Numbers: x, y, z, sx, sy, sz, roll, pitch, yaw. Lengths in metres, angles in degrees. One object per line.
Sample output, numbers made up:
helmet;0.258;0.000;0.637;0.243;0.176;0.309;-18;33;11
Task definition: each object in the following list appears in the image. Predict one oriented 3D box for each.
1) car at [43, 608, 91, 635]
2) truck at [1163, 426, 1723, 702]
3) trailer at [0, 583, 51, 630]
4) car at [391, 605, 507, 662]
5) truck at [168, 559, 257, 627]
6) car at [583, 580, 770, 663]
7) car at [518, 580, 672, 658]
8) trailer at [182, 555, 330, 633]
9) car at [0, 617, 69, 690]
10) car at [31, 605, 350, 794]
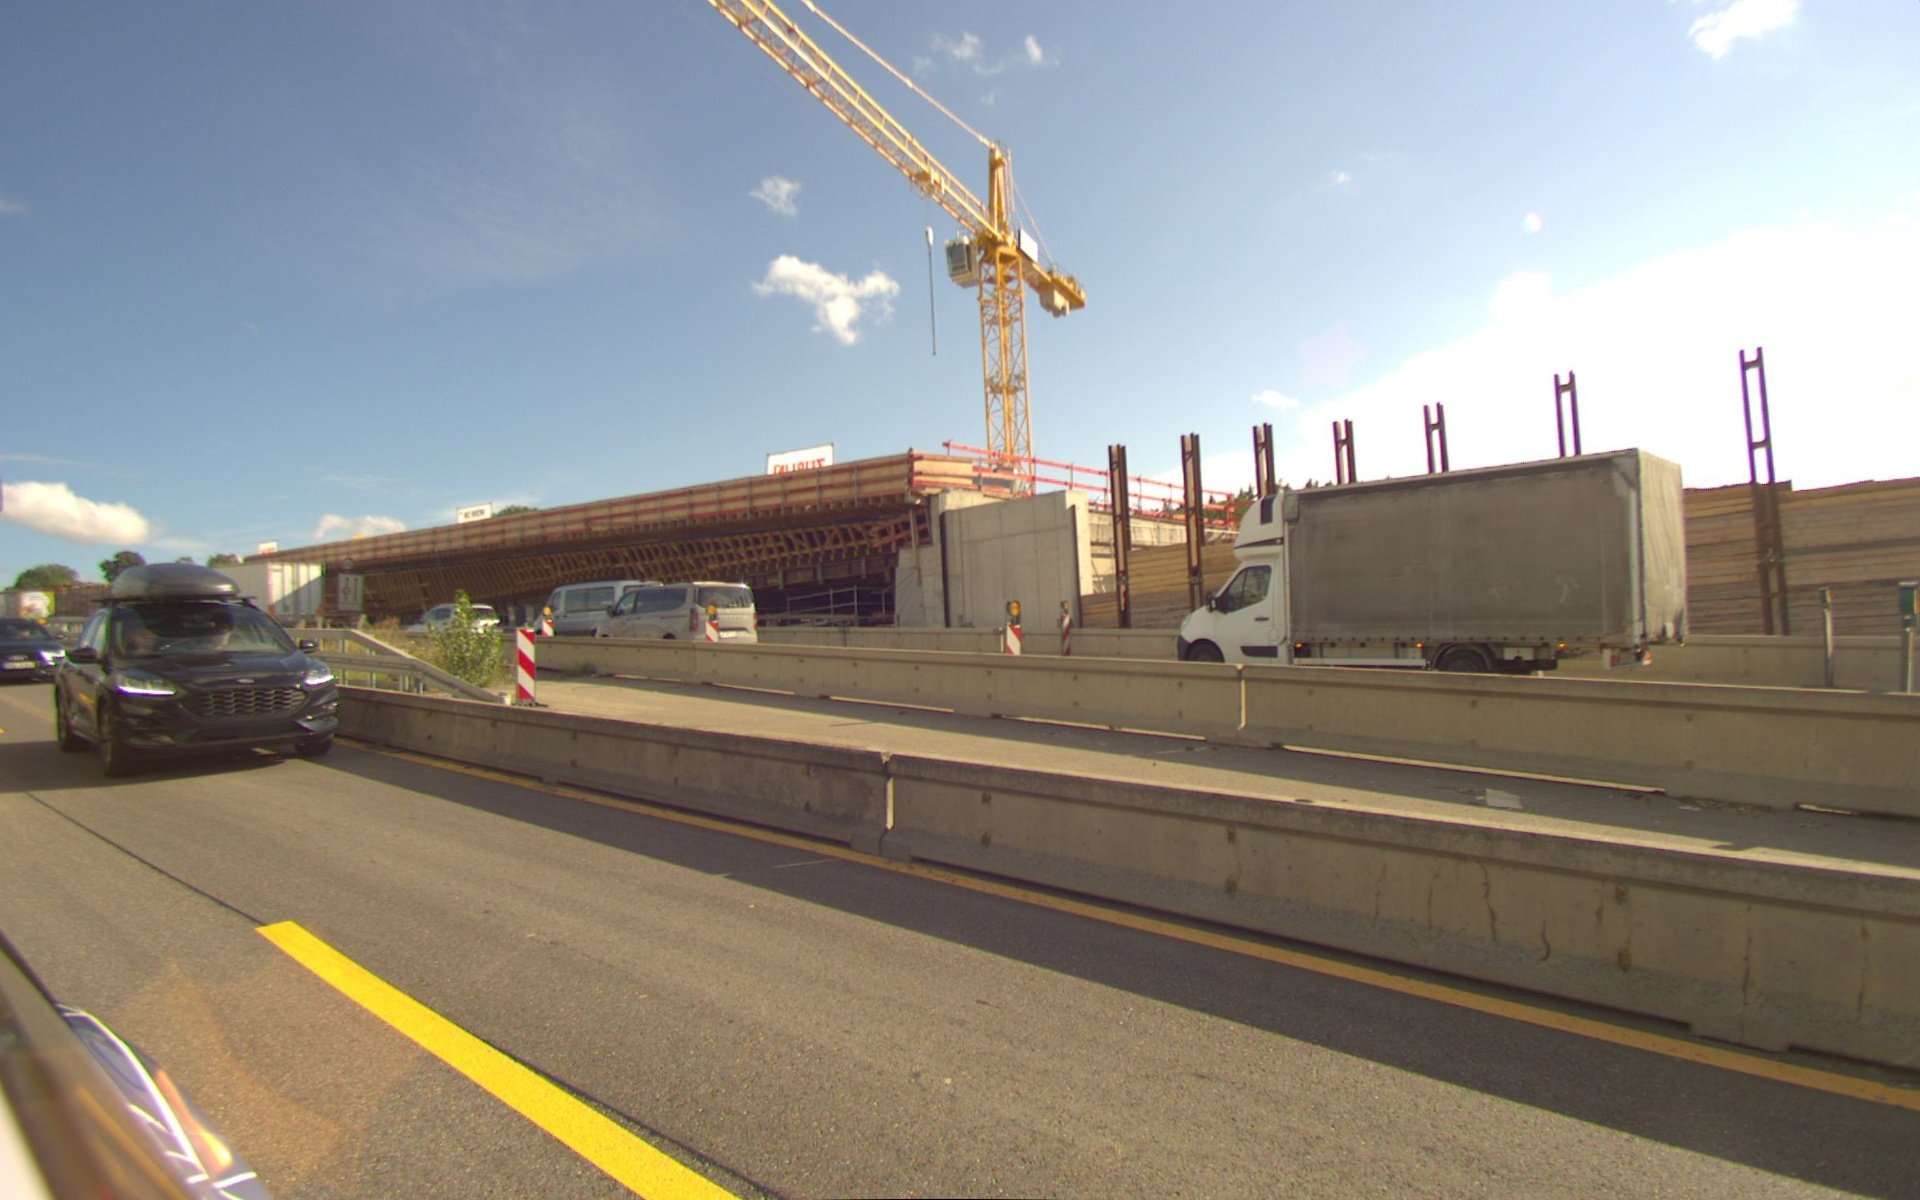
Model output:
car;-61.695;1.446;69.905;4.120;1.739;1.973;0;0;41
truck;7.087;-0.443;15.994;2.667;3.336;7.548;-1;0;-41
trailer;-88.598;0.562;95.200;13.800;4.187;2.660;0;0;40
car;-16.984;1.084;33.578;4.273;1.686;2.102;-2;0;44
truck;-44.457;-0.414;60.105;6.010;3.817;2.750;0;0;38
car;-6.992;0.513;24.656;5.032;1.779;2.102;-2;0;44
car;-12.464;0.591;34.362;5.861;2.420;2.236;0;0;39
trailer;-39.063;-0.271;55.826;13.785;3.870;2.794;0;0;38
car;-21.519;1.148;22.703;4.506;1.441;1.922;0;0;44
car;-8.209;0.869;10.635;4.381;1.554;1.781;-1;0;41
